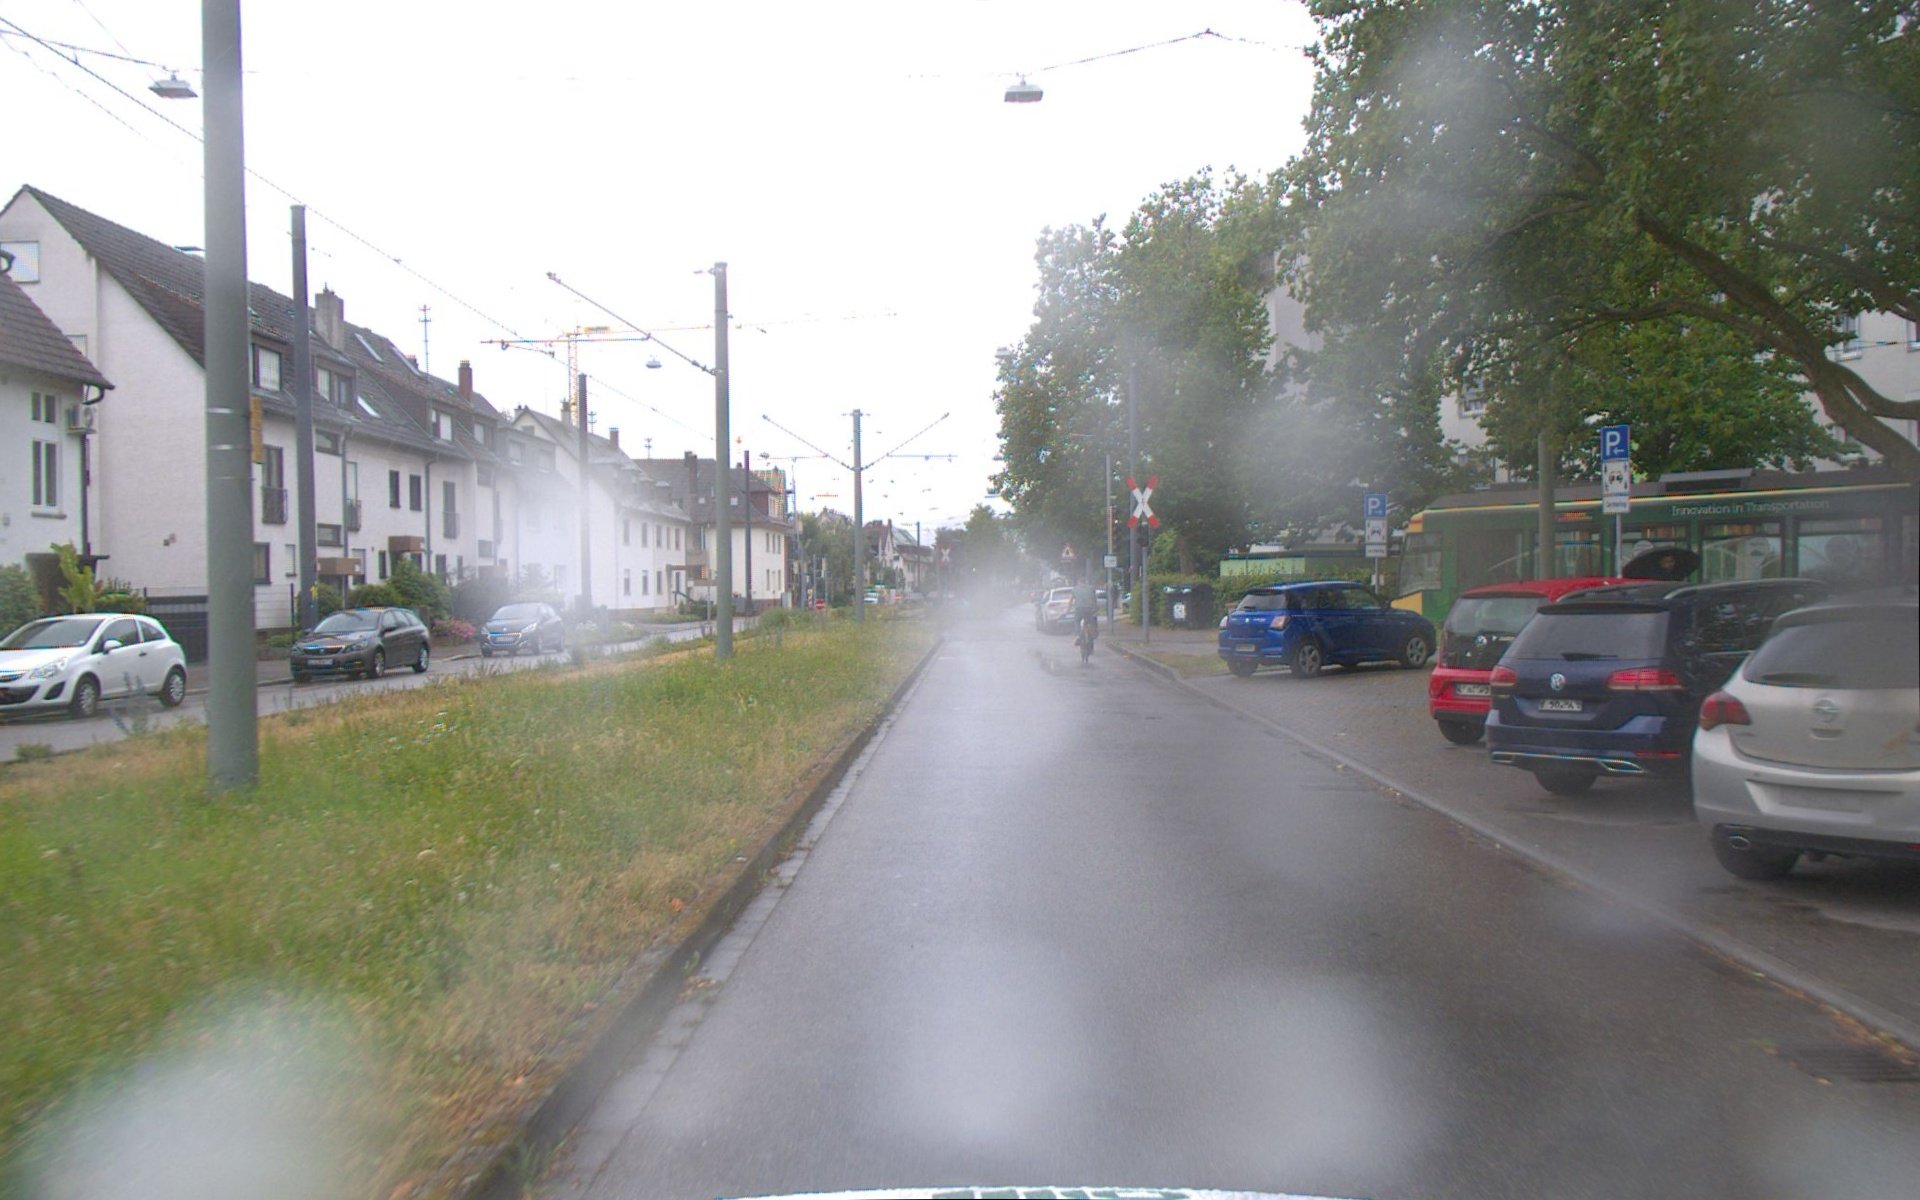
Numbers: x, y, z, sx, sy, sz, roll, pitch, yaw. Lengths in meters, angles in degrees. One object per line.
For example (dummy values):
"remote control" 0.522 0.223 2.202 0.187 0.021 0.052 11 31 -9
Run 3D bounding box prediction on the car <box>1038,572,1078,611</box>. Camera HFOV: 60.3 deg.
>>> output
"car" 5.553 -0.470 94.091 1.902 2.048 3.999 -3 -1 0

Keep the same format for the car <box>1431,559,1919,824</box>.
"car" 5.569 0.535 12.025 4.069 1.505 1.846 -3 1 -32

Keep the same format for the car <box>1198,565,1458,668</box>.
"car" 6.115 0.214 27.412 3.947 1.509 1.979 -2 2 -31

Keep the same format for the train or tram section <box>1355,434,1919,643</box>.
"train or tram section" 14.817 -1.018 33.186 2.691 3.653 14.512 1 -1 -42

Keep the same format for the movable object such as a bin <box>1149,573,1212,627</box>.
"movable object such as a bin" 7.376 -0.005 55.375 1.528 1.733 1.490 -2 0 -23

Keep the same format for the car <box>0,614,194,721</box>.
"car" -13.197 0.997 24.760 1.568 1.449 3.944 -1 -2 1

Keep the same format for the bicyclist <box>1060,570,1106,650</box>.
"bicyclist" 2.512 0.209 33.849 0.814 1.585 0.913 -2 -1 -2

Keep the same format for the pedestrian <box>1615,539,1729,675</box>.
"pedestrian" 9.524 0.085 22.175 1.023 1.744 1.080 -2 0 1

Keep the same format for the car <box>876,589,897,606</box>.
"car" -7.941 -0.235 179.604 1.952 1.735 4.000 -1 -2 2

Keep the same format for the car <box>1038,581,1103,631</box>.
"car" 3.808 0.230 57.521 1.915 1.580 3.999 -3 -1 0

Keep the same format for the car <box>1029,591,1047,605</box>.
"car" 9.174 -0.227 195.516 1.952 1.518 4.000 -1 -2 1

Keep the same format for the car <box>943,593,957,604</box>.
"car" -1.471 -0.224 251.670 1.952 1.571 4.000 -1 -2 2

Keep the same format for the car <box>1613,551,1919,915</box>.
"car" 5.527 0.523 8.702 3.951 1.580 1.938 -3 -1 -33

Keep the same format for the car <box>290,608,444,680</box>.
"car" -12.833 0.971 36.088 1.568 1.449 4.666 -1 -2 1

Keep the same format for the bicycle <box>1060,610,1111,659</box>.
"bicycle" 2.537 0.693 33.727 0.804 0.928 1.985 -2 -1 -2

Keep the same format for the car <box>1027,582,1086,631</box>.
"car" 3.629 0.267 62.659 1.902 1.680 3.999 -3 -1 0

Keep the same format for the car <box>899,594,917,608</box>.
"car" -6.405 0.110 204.300 1.952 1.571 4.000 -1 -2 2

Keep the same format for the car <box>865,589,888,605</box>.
"car" -8.719 -0.294 172.694 1.952 1.571 4.000 -1 -2 2

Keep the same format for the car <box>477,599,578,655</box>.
"car" -12.651 0.823 48.613 1.838 1.530 4.133 -1 -2 1

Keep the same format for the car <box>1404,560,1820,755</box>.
"car" 6.102 0.473 15.463 3.543 1.505 1.624 -3 1 -26

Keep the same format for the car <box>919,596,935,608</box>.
"car" -4.564 0.281 230.677 1.952 1.571 4.000 -1 -2 2
